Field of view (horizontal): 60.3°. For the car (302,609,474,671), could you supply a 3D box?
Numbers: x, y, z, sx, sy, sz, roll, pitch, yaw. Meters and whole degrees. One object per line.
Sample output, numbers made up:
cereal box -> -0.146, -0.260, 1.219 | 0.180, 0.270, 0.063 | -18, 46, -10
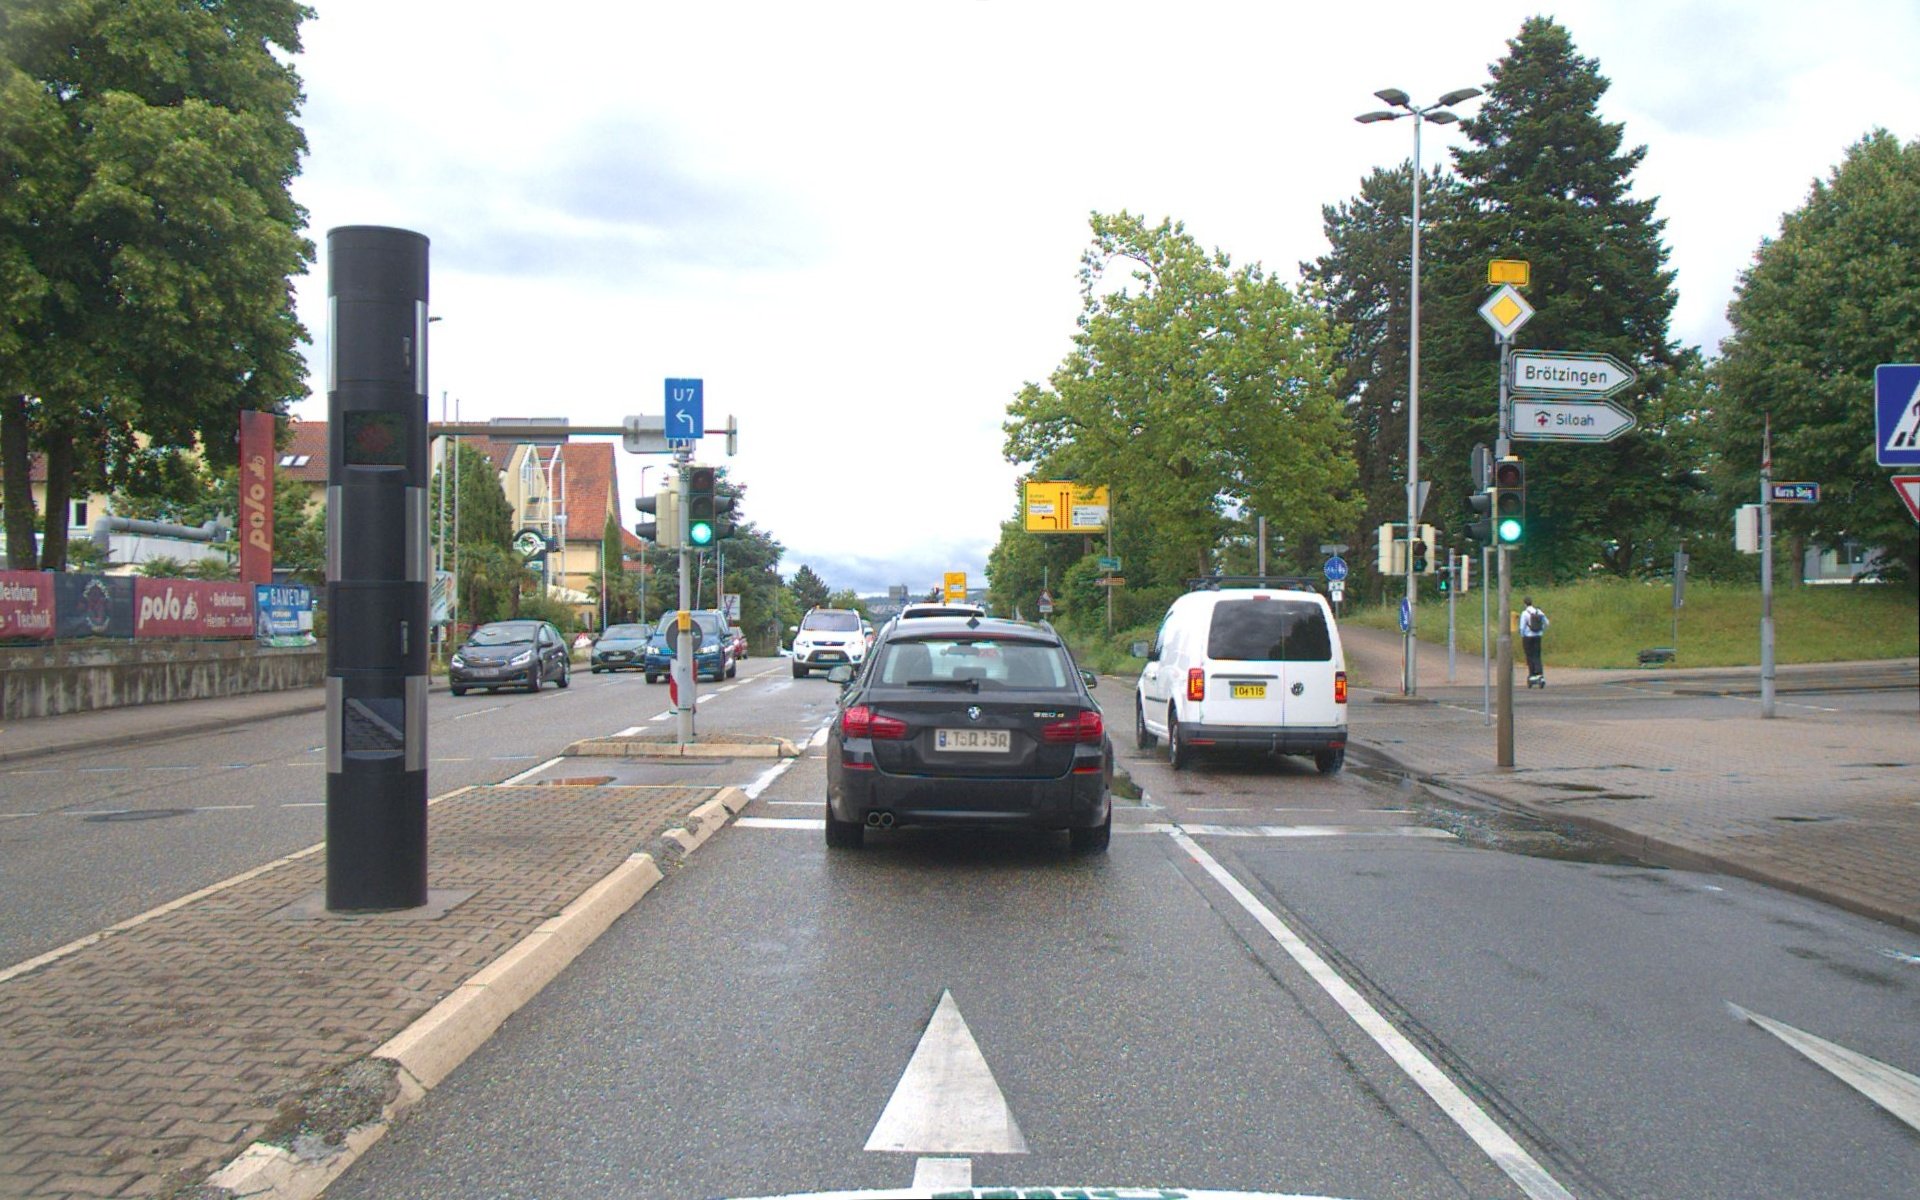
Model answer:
car -> -18.345, 1.282, 53.066 | 4.942, 1.732, 1.980 | -2, -3, -29

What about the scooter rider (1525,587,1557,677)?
scooter rider -> 12.968, 0.706, 36.911 | 0.490, 2.000, 0.547 | 0, 0, -1

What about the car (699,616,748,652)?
car -> -10.774, 1.539, 75.515 | 1.734, 1.596, 3.999 | 0, -1, -1

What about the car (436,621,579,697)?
car -> -9.371, 1.186, 34.564 | 1.878, 1.403, 4.124 | -2, 0, -1

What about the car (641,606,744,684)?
car -> -6.233, 1.019, 38.923 | 1.802, 1.678, 4.295 | -2, 0, -2

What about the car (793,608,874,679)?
car -> -3.114, 1.039, 41.413 | 1.802, 1.678, 4.295 | 0, 0, -2

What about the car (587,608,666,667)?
car -> -10.104, 1.110, 50.315 | 1.642, 1.646, 3.999 | -1, 0, -1

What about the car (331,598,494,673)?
car -> -16.523, 1.051, 49.952 | 4.339, 2.049, 1.980 | -2, 0, -30

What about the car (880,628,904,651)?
car -> -5.502, 3.193, 133.745 | 1.830, 1.703, 3.999 | 1, 0, -1

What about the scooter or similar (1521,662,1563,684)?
scooter or similar -> 12.966, 1.626, 36.895 | 0.477, 0.410, 1.255 | 0, 0, -1

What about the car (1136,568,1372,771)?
car -> 2.999, 0.654, 17.625 | 1.729, 1.910, 3.804 | 1, 0, -2

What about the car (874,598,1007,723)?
car -> -0.284, 0.841, 24.960 | 1.830, 1.703, 3.999 | 1, 0, -1

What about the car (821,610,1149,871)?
car -> 0.128, 0.826, 11.463 | 1.860, 1.467, 3.999 | 1, -1, -1

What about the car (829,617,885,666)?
car -> -3.199, 1.311, 51.794 | 1.599, 1.459, 4.142 | 0, -2, -2
